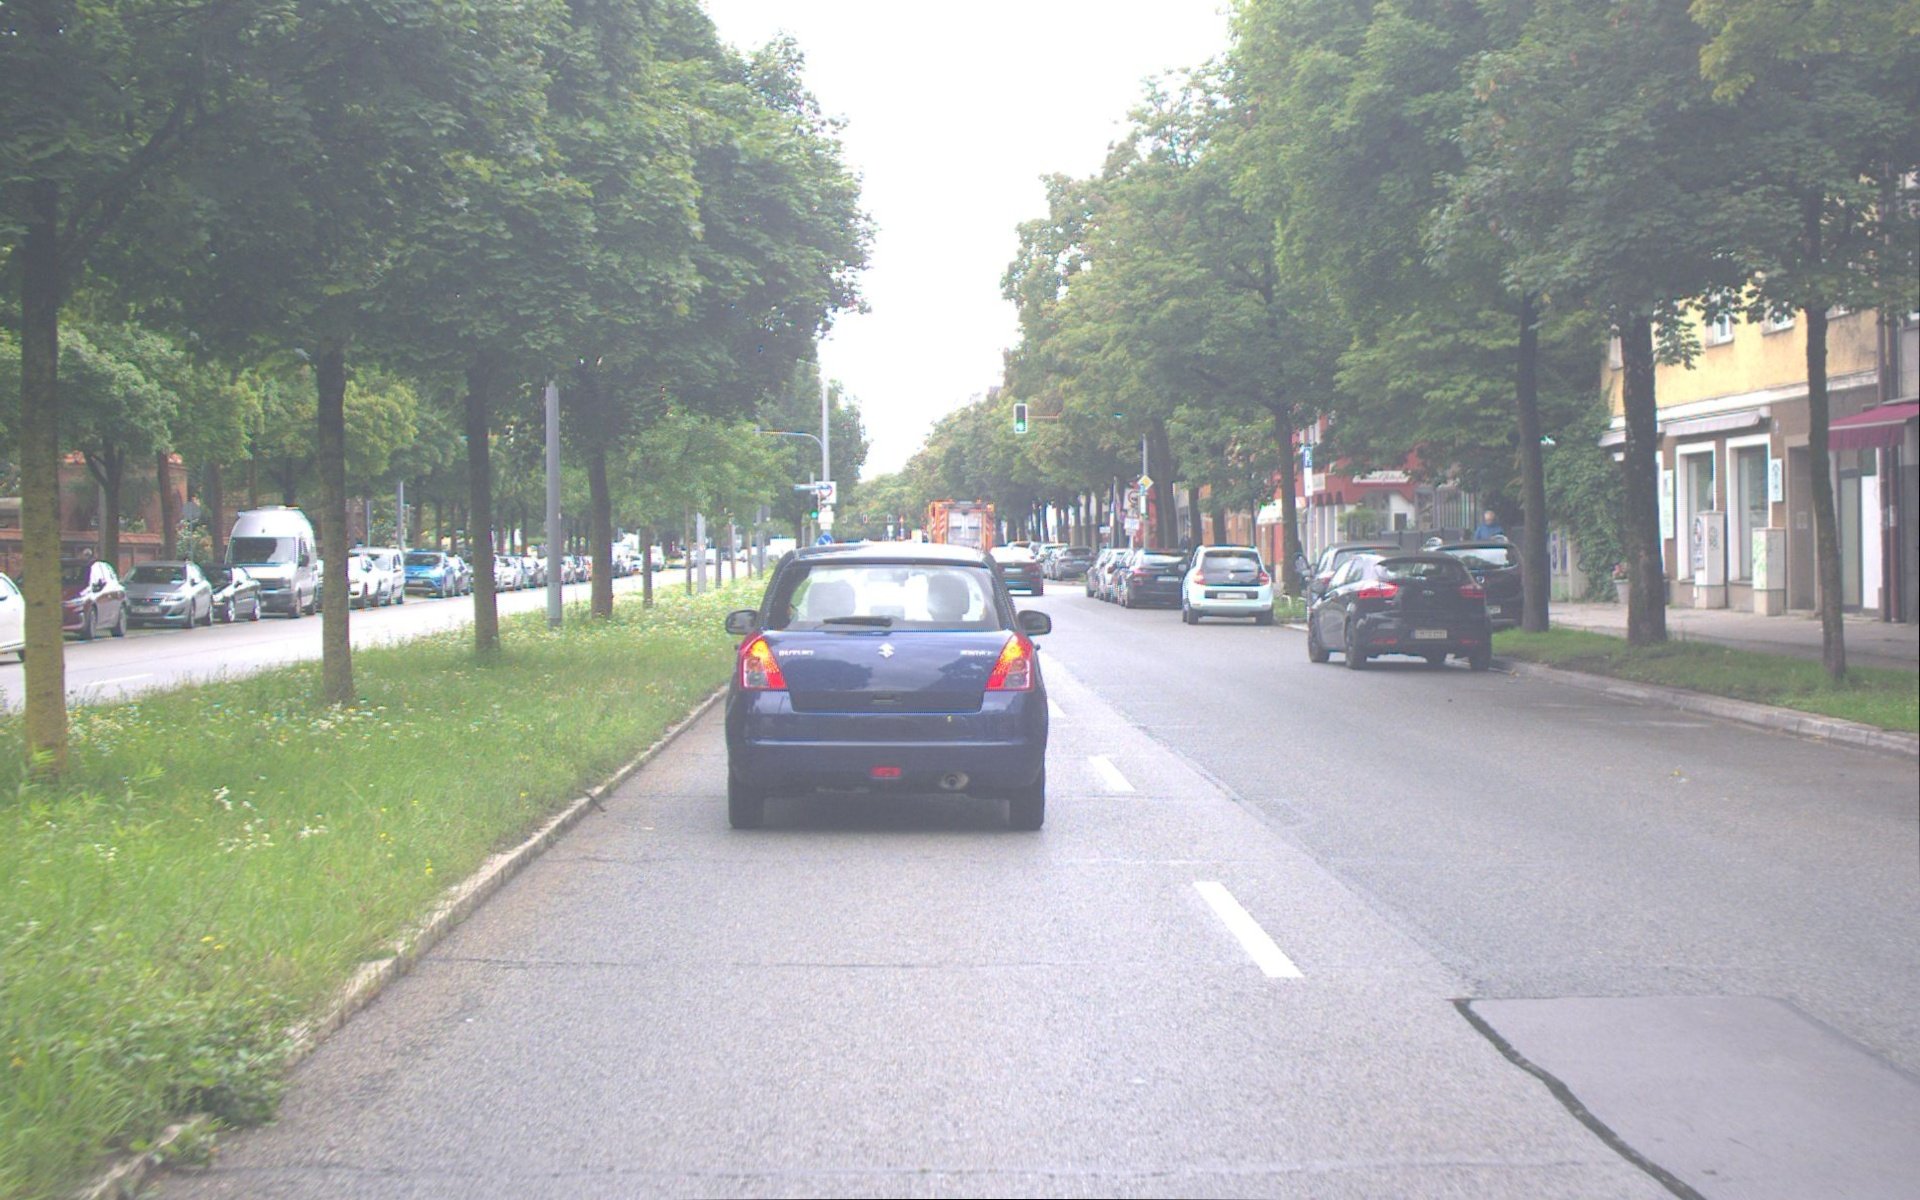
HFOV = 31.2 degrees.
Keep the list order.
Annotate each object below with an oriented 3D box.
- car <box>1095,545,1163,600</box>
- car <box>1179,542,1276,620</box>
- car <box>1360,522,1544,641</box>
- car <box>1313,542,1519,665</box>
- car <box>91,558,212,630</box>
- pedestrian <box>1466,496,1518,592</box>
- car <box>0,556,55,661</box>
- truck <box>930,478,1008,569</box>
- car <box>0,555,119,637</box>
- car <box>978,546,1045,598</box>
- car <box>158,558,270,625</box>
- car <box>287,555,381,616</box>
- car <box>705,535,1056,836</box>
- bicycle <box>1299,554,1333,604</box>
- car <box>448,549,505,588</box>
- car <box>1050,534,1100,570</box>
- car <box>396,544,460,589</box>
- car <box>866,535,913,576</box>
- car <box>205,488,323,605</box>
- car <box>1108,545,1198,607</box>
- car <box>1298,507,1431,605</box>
[{"bbox_3d":[4.620,-0.764,94.165,1.695,1.447,4.123,-1,1,1],"label":"car"},{"bbox_3d":[5.230,-0.396,67.526,1.653,1.447,4.000,-1,1,1],"label":"car"},{"bbox_3d":[7.127,-0.302,50.200,1.993,1.637,4.333,-1,1,-1],"label":"car"},{"bbox_3d":[5.652,0.004,43.041,1.993,1.447,4.000,0,1,-1],"label":"car"},{"bbox_3d":[-18.085,-0.150,77.088,1.813,1.531,4.442,0,1,-2],"label":"car"},{"bbox_3d":[10.465,-1.095,67.690,0.792,1.849,0.777,-2,1,-4],"label":"pedestrian"},{"bbox_3d":[-15.212,0.174,51.944,1.761,1.532,4.314,-3,1,2],"label":"car"},{"bbox_3d":[0.320,-3.108,140.736,3.041,3.545,13.675,0,1,0],"label":"truck"},{"bbox_3d":[-17.876,-0.111,67.485,1.813,1.531,4.299,0,1,-2],"label":"car"},{"bbox_3d":[1.535,-0.878,104.385,1.821,1.472,4.691,2,1,-1],"label":"car"},{"bbox_3d":[-17.972,-0.221,83.031,1.813,1.531,4.820,0,1,-2],"label":"car"},{"bbox_3d":[-18.434,-0.446,101.449,2.185,1.730,4.579,0,1,-3],"label":"car"},{"bbox_3d":[-0.407,0.395,19.275,1.753,1.499,4.000,0,1,0],"label":"car"},{"bbox_3d":[7.037,-0.425,68.018,0.448,0.977,1.799,0,1,-1],"label":"bicycle"},{"bbox_3d":[-19.449,-1.272,138.364,1.801,1.529,4.000,-1,1,-1],"label":"car"},{"bbox_3d":[5.009,-2.093,150.101,1.993,1.525,4.000,-1,1,-1],"label":"car"},{"bbox_3d":[-18.785,-1.194,121.543,1.706,1.529,4.000,-1,1,-1],"label":"car"},{"bbox_3d":[-2.618,-1.647,127.077,1.718,1.495,4.301,0,1,-1],"label":"car"},{"bbox_3d":[-18.116,-1.409,89.766,2.185,2.943,6.193,0,1,-3],"label":"car"},{"bbox_3d":[4.687,-0.613,84.021,1.653,1.447,4.709,-1,1,-3],"label":"car"},{"bbox_3d":[7.170,-0.804,61.280,1.815,1.620,4.308,-2,1,0],"label":"car"}]
